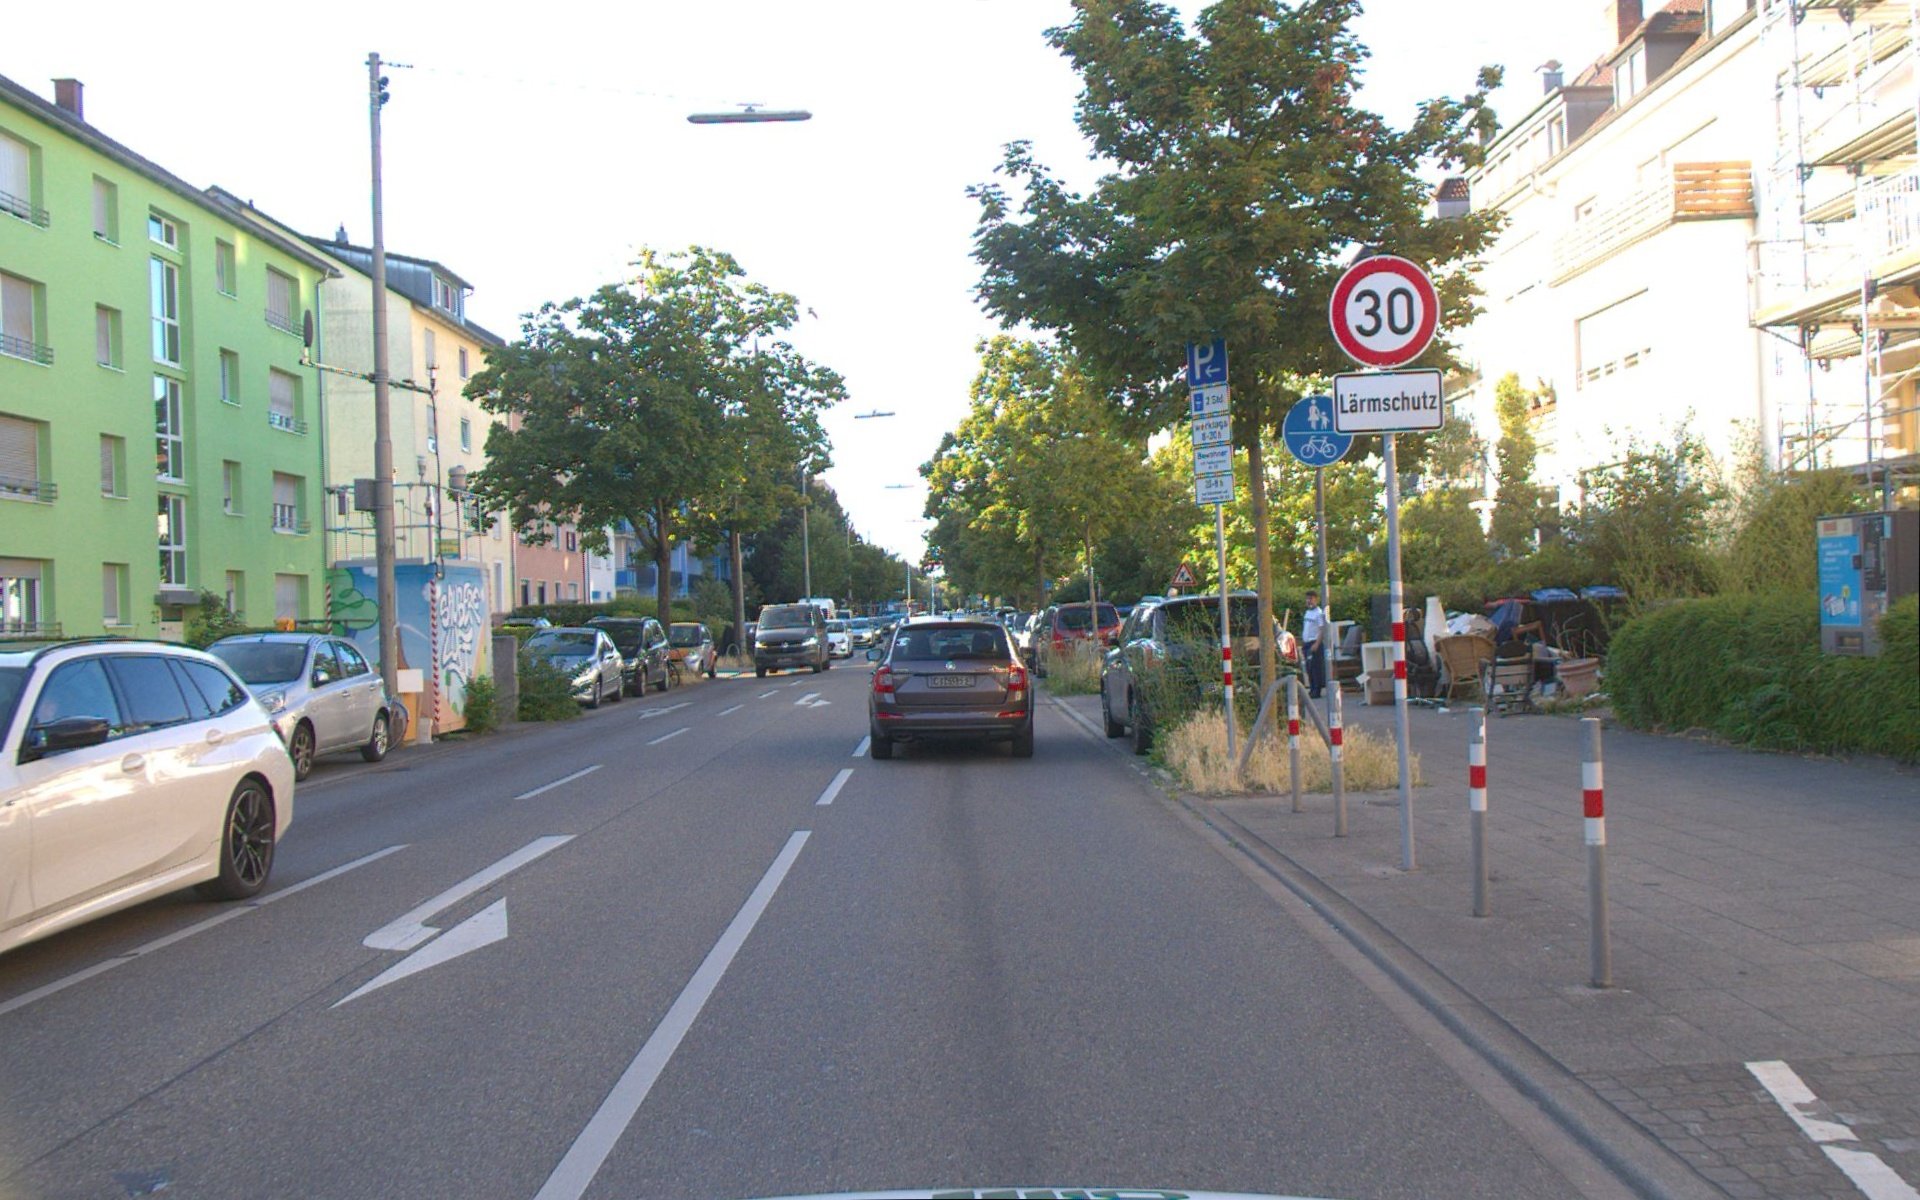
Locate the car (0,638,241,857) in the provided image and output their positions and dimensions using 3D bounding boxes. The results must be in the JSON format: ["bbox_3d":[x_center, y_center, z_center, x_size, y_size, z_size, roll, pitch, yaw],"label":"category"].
[{"bbox_3d":[-7.586,1.113,13.513,1.619,1.505,3.943,-2,-1,1],"label":"car"}]

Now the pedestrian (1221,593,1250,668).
[{"bbox_3d":[6.425,0.704,38.581,0.500,1.726,0.526,-2,-1,-5],"label":"pedestrian"}]

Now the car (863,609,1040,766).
[{"bbox_3d":[-0.040,0.875,18.140,1.718,1.518,4.000,0,-1,1],"label":"car"}]

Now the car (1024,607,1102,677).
[{"bbox_3d":[2.540,1.031,41.516,1.603,1.596,3.999,-3,-1,0],"label":"car"}]

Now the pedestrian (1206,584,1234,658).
[{"bbox_3d":[6.209,0.497,39.491,0.500,1.726,0.526,-2,-1,-5],"label":"pedestrian"}]

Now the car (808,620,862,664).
[{"bbox_3d":[-4.738,1.573,63.051,1.779,1.471,4.108,-4,-1,-2],"label":"car"}]

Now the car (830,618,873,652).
[{"bbox_3d":[-5.259,1.682,80.584,1.795,1.496,4.450,-5,-1,-1],"label":"car"}]

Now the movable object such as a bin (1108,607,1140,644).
[{"bbox_3d":[7.240,1.105,72.896,1.240,1.518,1.140,-4,-1,9],"label":"movable object such as a bin"}]

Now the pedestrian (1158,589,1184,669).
[{"bbox_3d":[5.012,0.683,39.371,0.537,1.882,0.765,-2,-1,6],"label":"pedestrian"}]

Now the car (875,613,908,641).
[{"bbox_3d":[-3.822,1.519,92.962,1.666,1.428,4.027,-4,-1,-1],"label":"car"}]

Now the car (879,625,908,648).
[{"bbox_3d":[-4.708,2.573,117.241,1.665,1.496,4.295,-3,-1,2],"label":"car"}]

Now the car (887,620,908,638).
[{"bbox_3d":[-5.695,2.603,150.408,1.842,1.570,4.264,-2,-1,-3],"label":"car"}]

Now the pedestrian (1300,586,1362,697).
[{"bbox_3d":[5.502,0.613,24.529,0.547,1.595,0.744,-1,-1,-18],"label":"pedestrian"}]

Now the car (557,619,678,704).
[{"bbox_3d":[-7.737,1.352,37.793,1.747,1.763,4.616,-2,-1,0],"label":"car"}]

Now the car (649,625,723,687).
[{"bbox_3d":[-7.755,1.569,46.957,1.468,1.645,2.862,-2,-1,3],"label":"car"}]

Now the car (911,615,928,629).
[{"bbox_3d":[-5.576,3.013,227.176,1.955,1.780,3.995,-2,-1,-6],"label":"car"}]

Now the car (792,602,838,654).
[{"bbox_3d":[-7.836,1.496,89.774,1.953,2.662,7.103,-1,-1,-1],"label":"car"}]

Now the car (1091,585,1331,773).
[{"bbox_3d":[2.496,0.755,17.382,1.756,1.660,4.028,-3,-1,-1],"label":"car"}]

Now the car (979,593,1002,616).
[{"bbox_3d":[2.317,0.333,126.302,1.718,1.716,4.252,0,-1,1],"label":"car"}]

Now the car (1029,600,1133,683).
[{"bbox_3d":[2.611,0.896,36.708,1.687,1.685,4.594,-1,-1,-3],"label":"car"}]

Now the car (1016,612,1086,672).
[{"bbox_3d":[2.537,1.162,46.912,1.603,1.516,4.414,-3,-1,-1],"label":"car"}]

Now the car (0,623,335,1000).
[{"bbox_3d":[-4.773,0.916,7.830,1.799,1.499,4.670,-3,-1,0],"label":"car"}]

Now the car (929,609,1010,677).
[{"bbox_3d":[0.189,1.064,40.529,1.853,1.533,3.788,2,-2,-1],"label":"car"}]

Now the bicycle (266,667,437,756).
[{"bbox_3d":[-7.805,1.420,21.264,1.964,1.108,0.583,0,-1,0],"label":"bicycle"}]

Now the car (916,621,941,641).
[{"bbox_3d":[-2.434,2.367,127.764,1.745,1.506,3.968,0,-1,-4],"label":"car"}]

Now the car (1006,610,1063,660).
[{"bbox_3d":[2.613,1.226,59.128,1.836,1.608,4.821,-3,-1,1],"label":"car"}]

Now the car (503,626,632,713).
[{"bbox_3d":[-7.715,1.321,32.870,1.649,1.548,4.189,-2,-1,-2],"label":"car"}]

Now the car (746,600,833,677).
[{"bbox_3d":[-4.870,1.095,47.789,1.953,1.980,4.776,-4,-1,-1],"label":"car"}]

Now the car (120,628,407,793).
[{"bbox_3d":[-7.581,1.130,18.388,1.604,1.579,3.785,-2,-1,-1],"label":"car"}]

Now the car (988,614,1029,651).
[{"bbox_3d":[2.245,1.481,77.042,1.683,1.629,4.095,-2,-1,-1],"label":"car"}]
